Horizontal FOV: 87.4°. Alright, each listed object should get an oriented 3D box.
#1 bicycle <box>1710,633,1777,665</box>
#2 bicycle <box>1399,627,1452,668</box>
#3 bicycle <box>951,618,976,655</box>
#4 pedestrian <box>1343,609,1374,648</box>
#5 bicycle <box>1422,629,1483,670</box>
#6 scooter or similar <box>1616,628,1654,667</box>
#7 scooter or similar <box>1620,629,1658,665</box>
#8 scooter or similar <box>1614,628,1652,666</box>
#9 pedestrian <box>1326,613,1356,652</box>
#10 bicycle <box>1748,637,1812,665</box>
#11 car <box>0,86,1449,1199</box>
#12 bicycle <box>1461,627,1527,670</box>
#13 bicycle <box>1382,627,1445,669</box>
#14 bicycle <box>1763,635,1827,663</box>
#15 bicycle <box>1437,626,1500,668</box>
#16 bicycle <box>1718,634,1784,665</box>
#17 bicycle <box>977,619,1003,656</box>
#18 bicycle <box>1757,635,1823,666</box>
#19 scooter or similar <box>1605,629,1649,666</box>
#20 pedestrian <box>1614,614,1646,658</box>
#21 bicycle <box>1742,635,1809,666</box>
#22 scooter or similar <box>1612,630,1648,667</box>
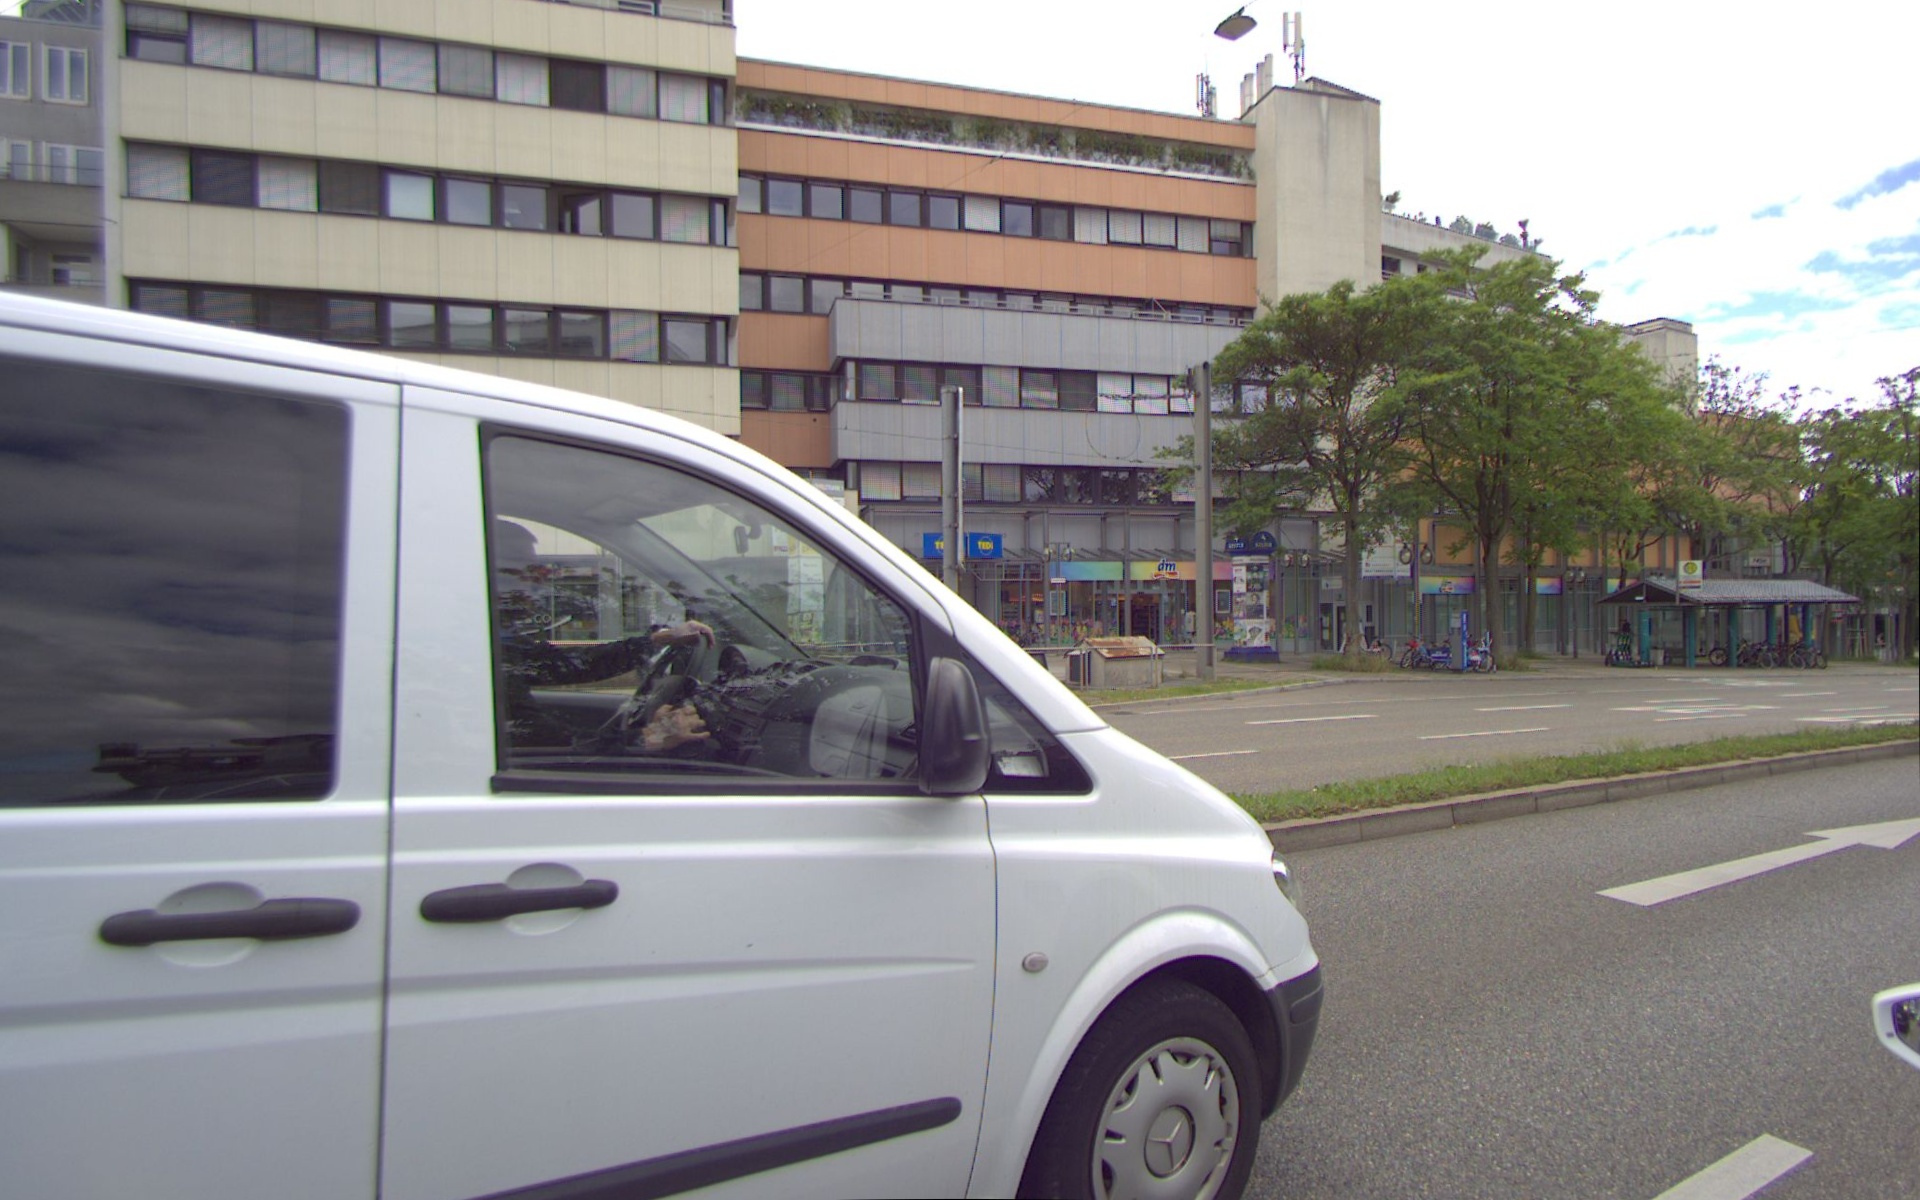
[{"bbox_3d":[32.189,1.990,41.292,0.705,1.169,2.049,1,1,-38],"label":"bicycle"},{"bbox_3d":[14.566,1.480,31.466,1.441,1.270,0.432,0,-1,13],"label":"bicycle"},{"bbox_3d":[0.127,1.363,37.668,0.692,1.337,1.972,1,-1,-6],"label":"bicycle"},{"bbox_3d":[16.687,1.190,42.053,0.984,1.639,0.730,1,-1,-27],"label":"pedestrian"},{"bbox_3d":[15.867,1.592,32.401,1.649,1.270,0.627,0,-1,10],"label":"bicycle"},{"bbox_3d":[25.251,1.756,37.588,0.256,1.442,1.196,1,-1,-29],"label":"scooter or similar"},{"bbox_3d":[25.508,1.749,37.734,0.256,1.338,1.196,1,-1,-29],"label":"scooter or similar"},{"bbox_3d":[25.048,1.738,37.406,0.219,1.403,1.196,1,-1,-29],"label":"scooter or similar"},{"bbox_3d":[16.219,1.364,42.816,0.984,1.639,0.730,1,-1,-27],"label":"pedestrian"},{"bbox_3d":[35.169,2.173,43.114,0.705,1.168,2.049,1,-2,-38],"label":"bicycle"},{"bbox_3d":[-1.400,0.426,2.027,5.018,2.041,1.863,0,2,-32],"label":"car"},{"bbox_3d":[16.152,1.467,30.398,1.649,1.270,0.627,0,-1,10],"label":"bicycle"},{"bbox_3d":[13.898,1.456,30.814,1.649,1.270,0.627,0,-1,11],"label":"bicycle"},{"bbox_3d":[36.810,2.148,44.295,0.705,1.169,2.049,1,-1,-38],"label":"bicycle"},{"bbox_3d":[15.877,1.462,31.393,1.649,1.270,0.627,0,-1,10],"label":"bicycle"},{"bbox_3d":[33.079,2.059,42.018,0.705,1.169,2.049,1,1,-38],"label":"bicycle"},{"bbox_3d":[1.099,1.374,37.489,0.692,1.337,1.972,1,-1,-6],"label":"bicycle"},{"bbox_3d":[36.035,2.174,43.633,0.705,1.169,2.049,1,2,-38],"label":"bicycle"},{"bbox_3d":[24.554,1.743,37.004,0.335,1.286,1.315,1,0,-29],"label":"scooter or similar"},{"bbox_3d":[27.684,1.484,41.494,0.984,1.805,0.730,1,-1,-27],"label":"pedestrian"},{"bbox_3d":[34.154,2.097,42.101,0.705,1.169,2.049,1,0,-38],"label":"bicycle"},{"bbox_3d":[24.835,1.792,37.231,0.265,1.312,1.122,1,-1,-30],"label":"scooter or similar"}]
